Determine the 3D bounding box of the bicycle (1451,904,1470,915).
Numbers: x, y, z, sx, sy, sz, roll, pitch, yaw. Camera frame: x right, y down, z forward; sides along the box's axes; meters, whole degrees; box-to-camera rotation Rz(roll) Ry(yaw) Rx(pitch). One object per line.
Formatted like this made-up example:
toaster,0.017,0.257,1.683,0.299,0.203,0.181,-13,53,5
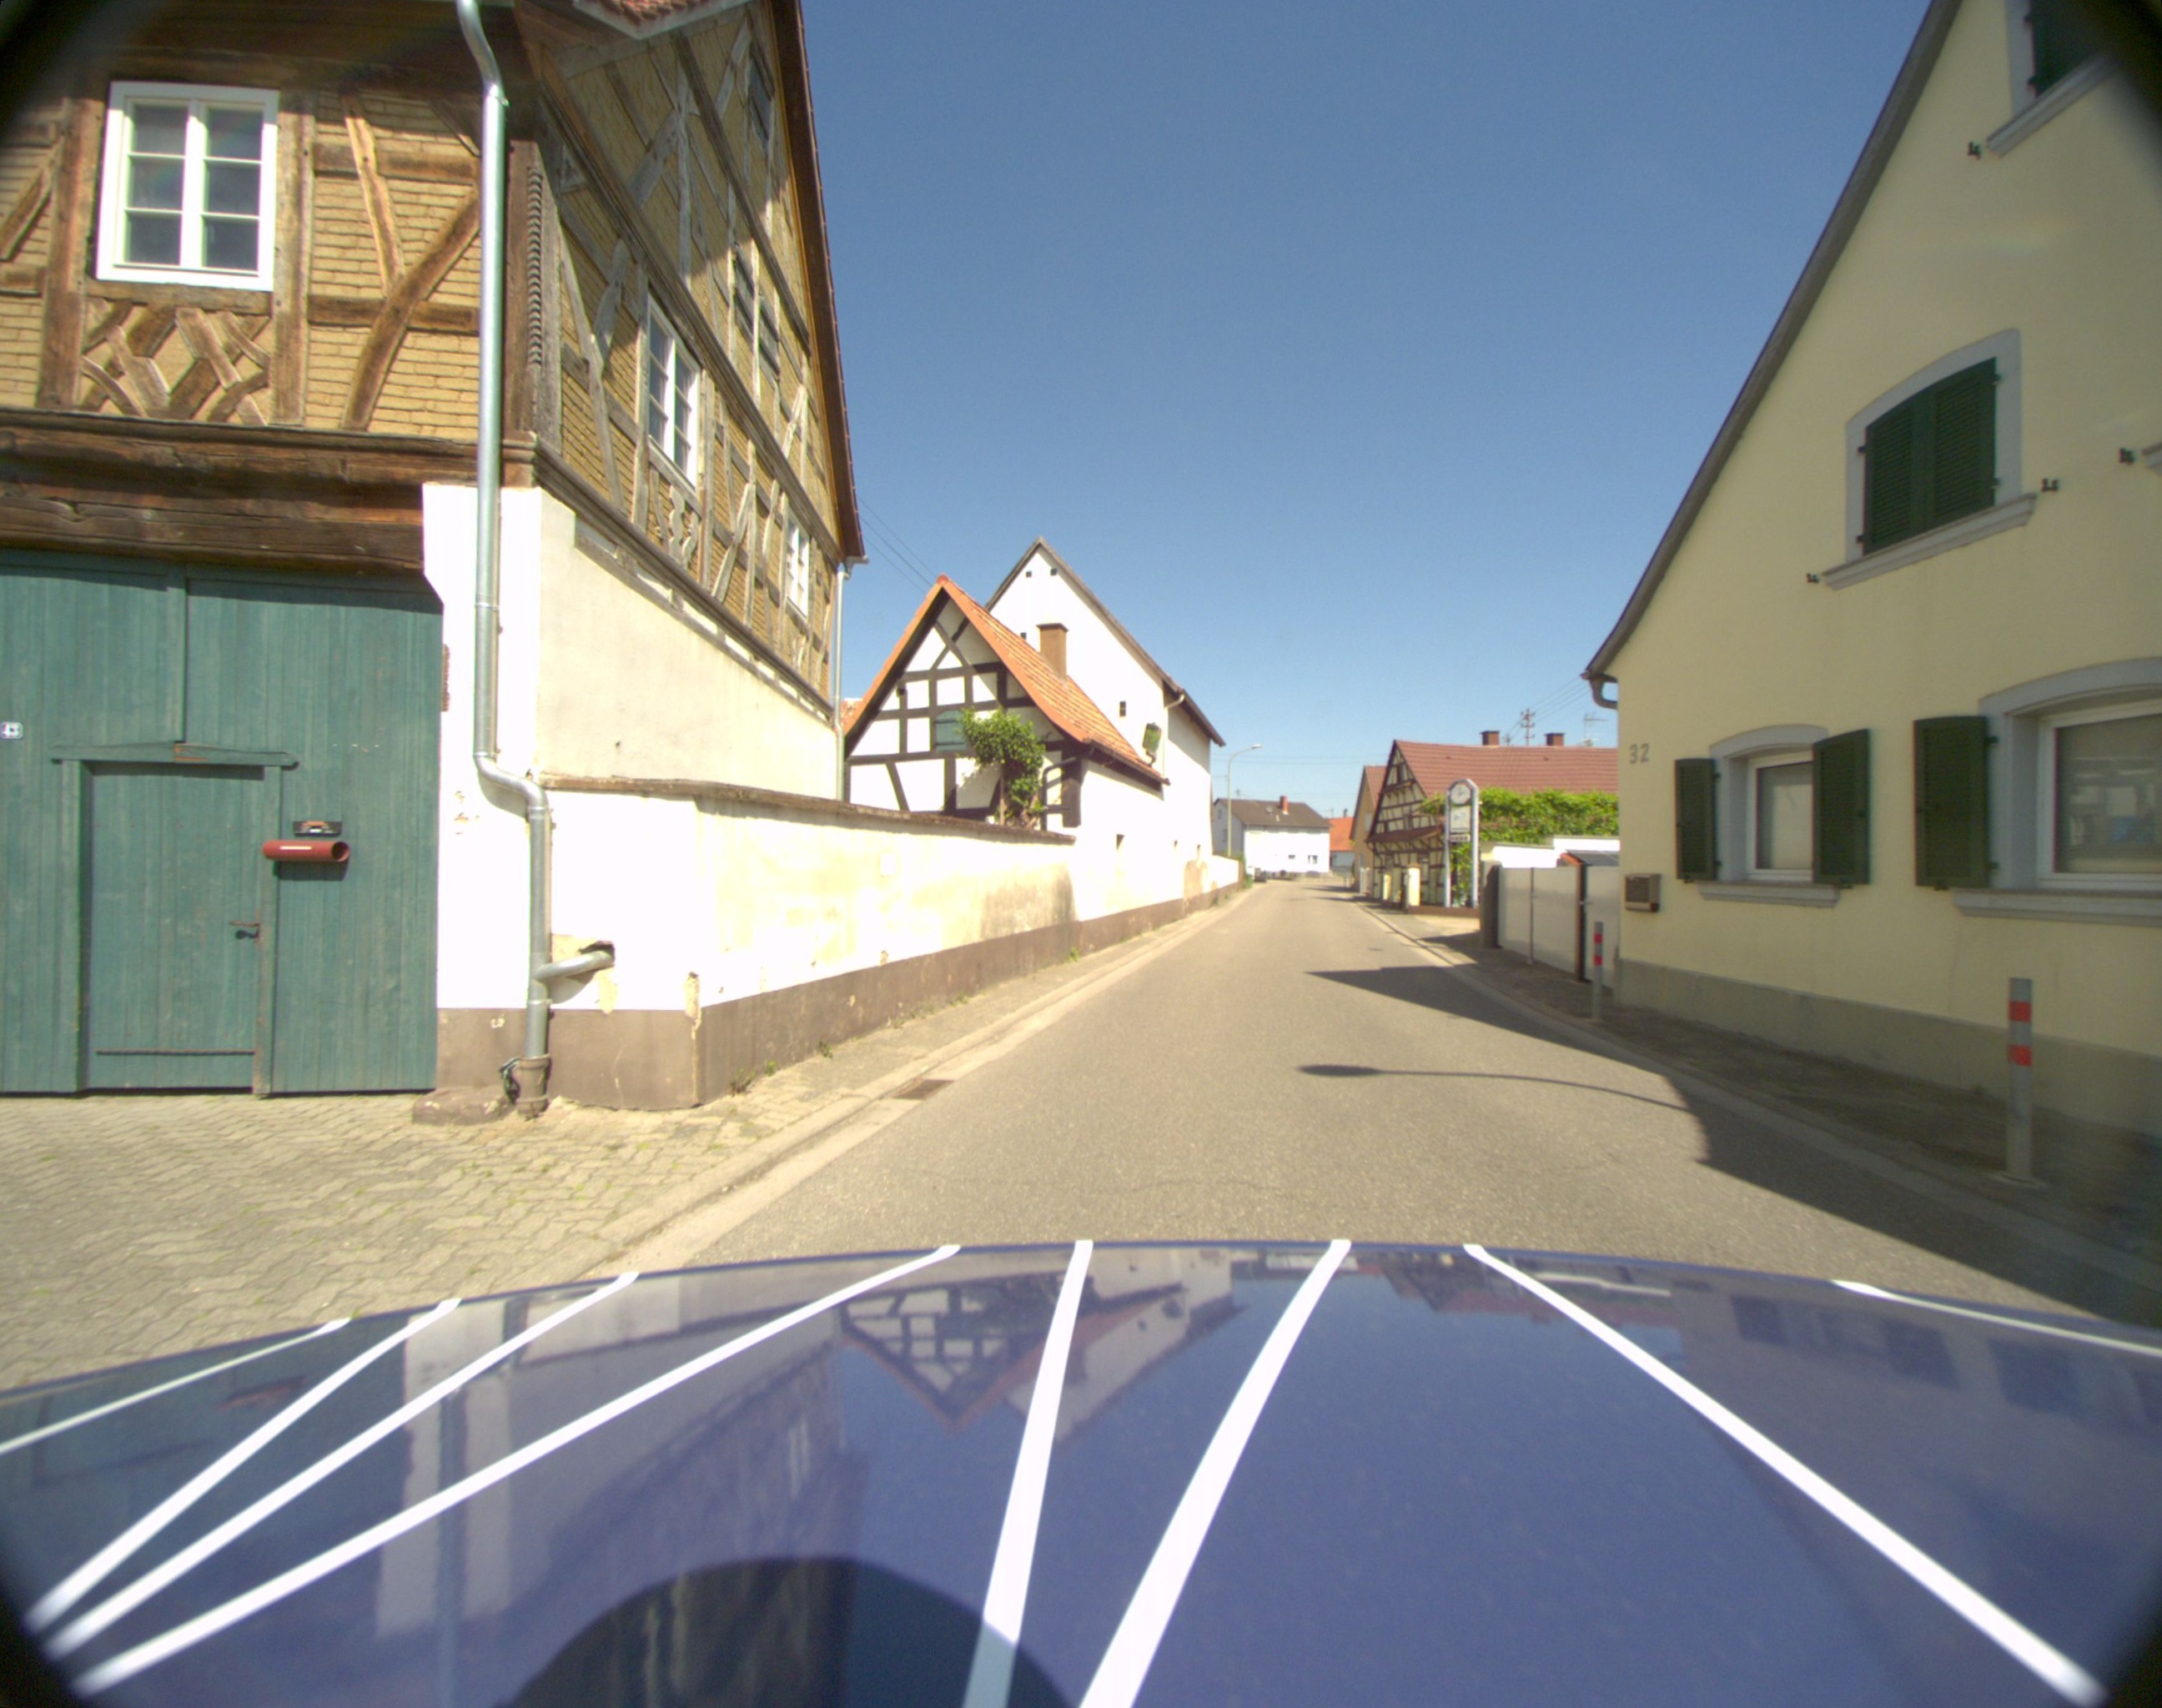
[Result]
bicycle,12.063,1.759,24.160,0.534,0.303,0.220,1,0,31

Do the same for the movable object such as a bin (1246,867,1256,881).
movable object such as a bin,12.079,1.428,53.995,0.552,0.971,0.432,1,0,-10

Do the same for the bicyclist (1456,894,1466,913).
bicyclist,12.083,1.562,24.149,0.246,0.579,0.219,0,0,31
